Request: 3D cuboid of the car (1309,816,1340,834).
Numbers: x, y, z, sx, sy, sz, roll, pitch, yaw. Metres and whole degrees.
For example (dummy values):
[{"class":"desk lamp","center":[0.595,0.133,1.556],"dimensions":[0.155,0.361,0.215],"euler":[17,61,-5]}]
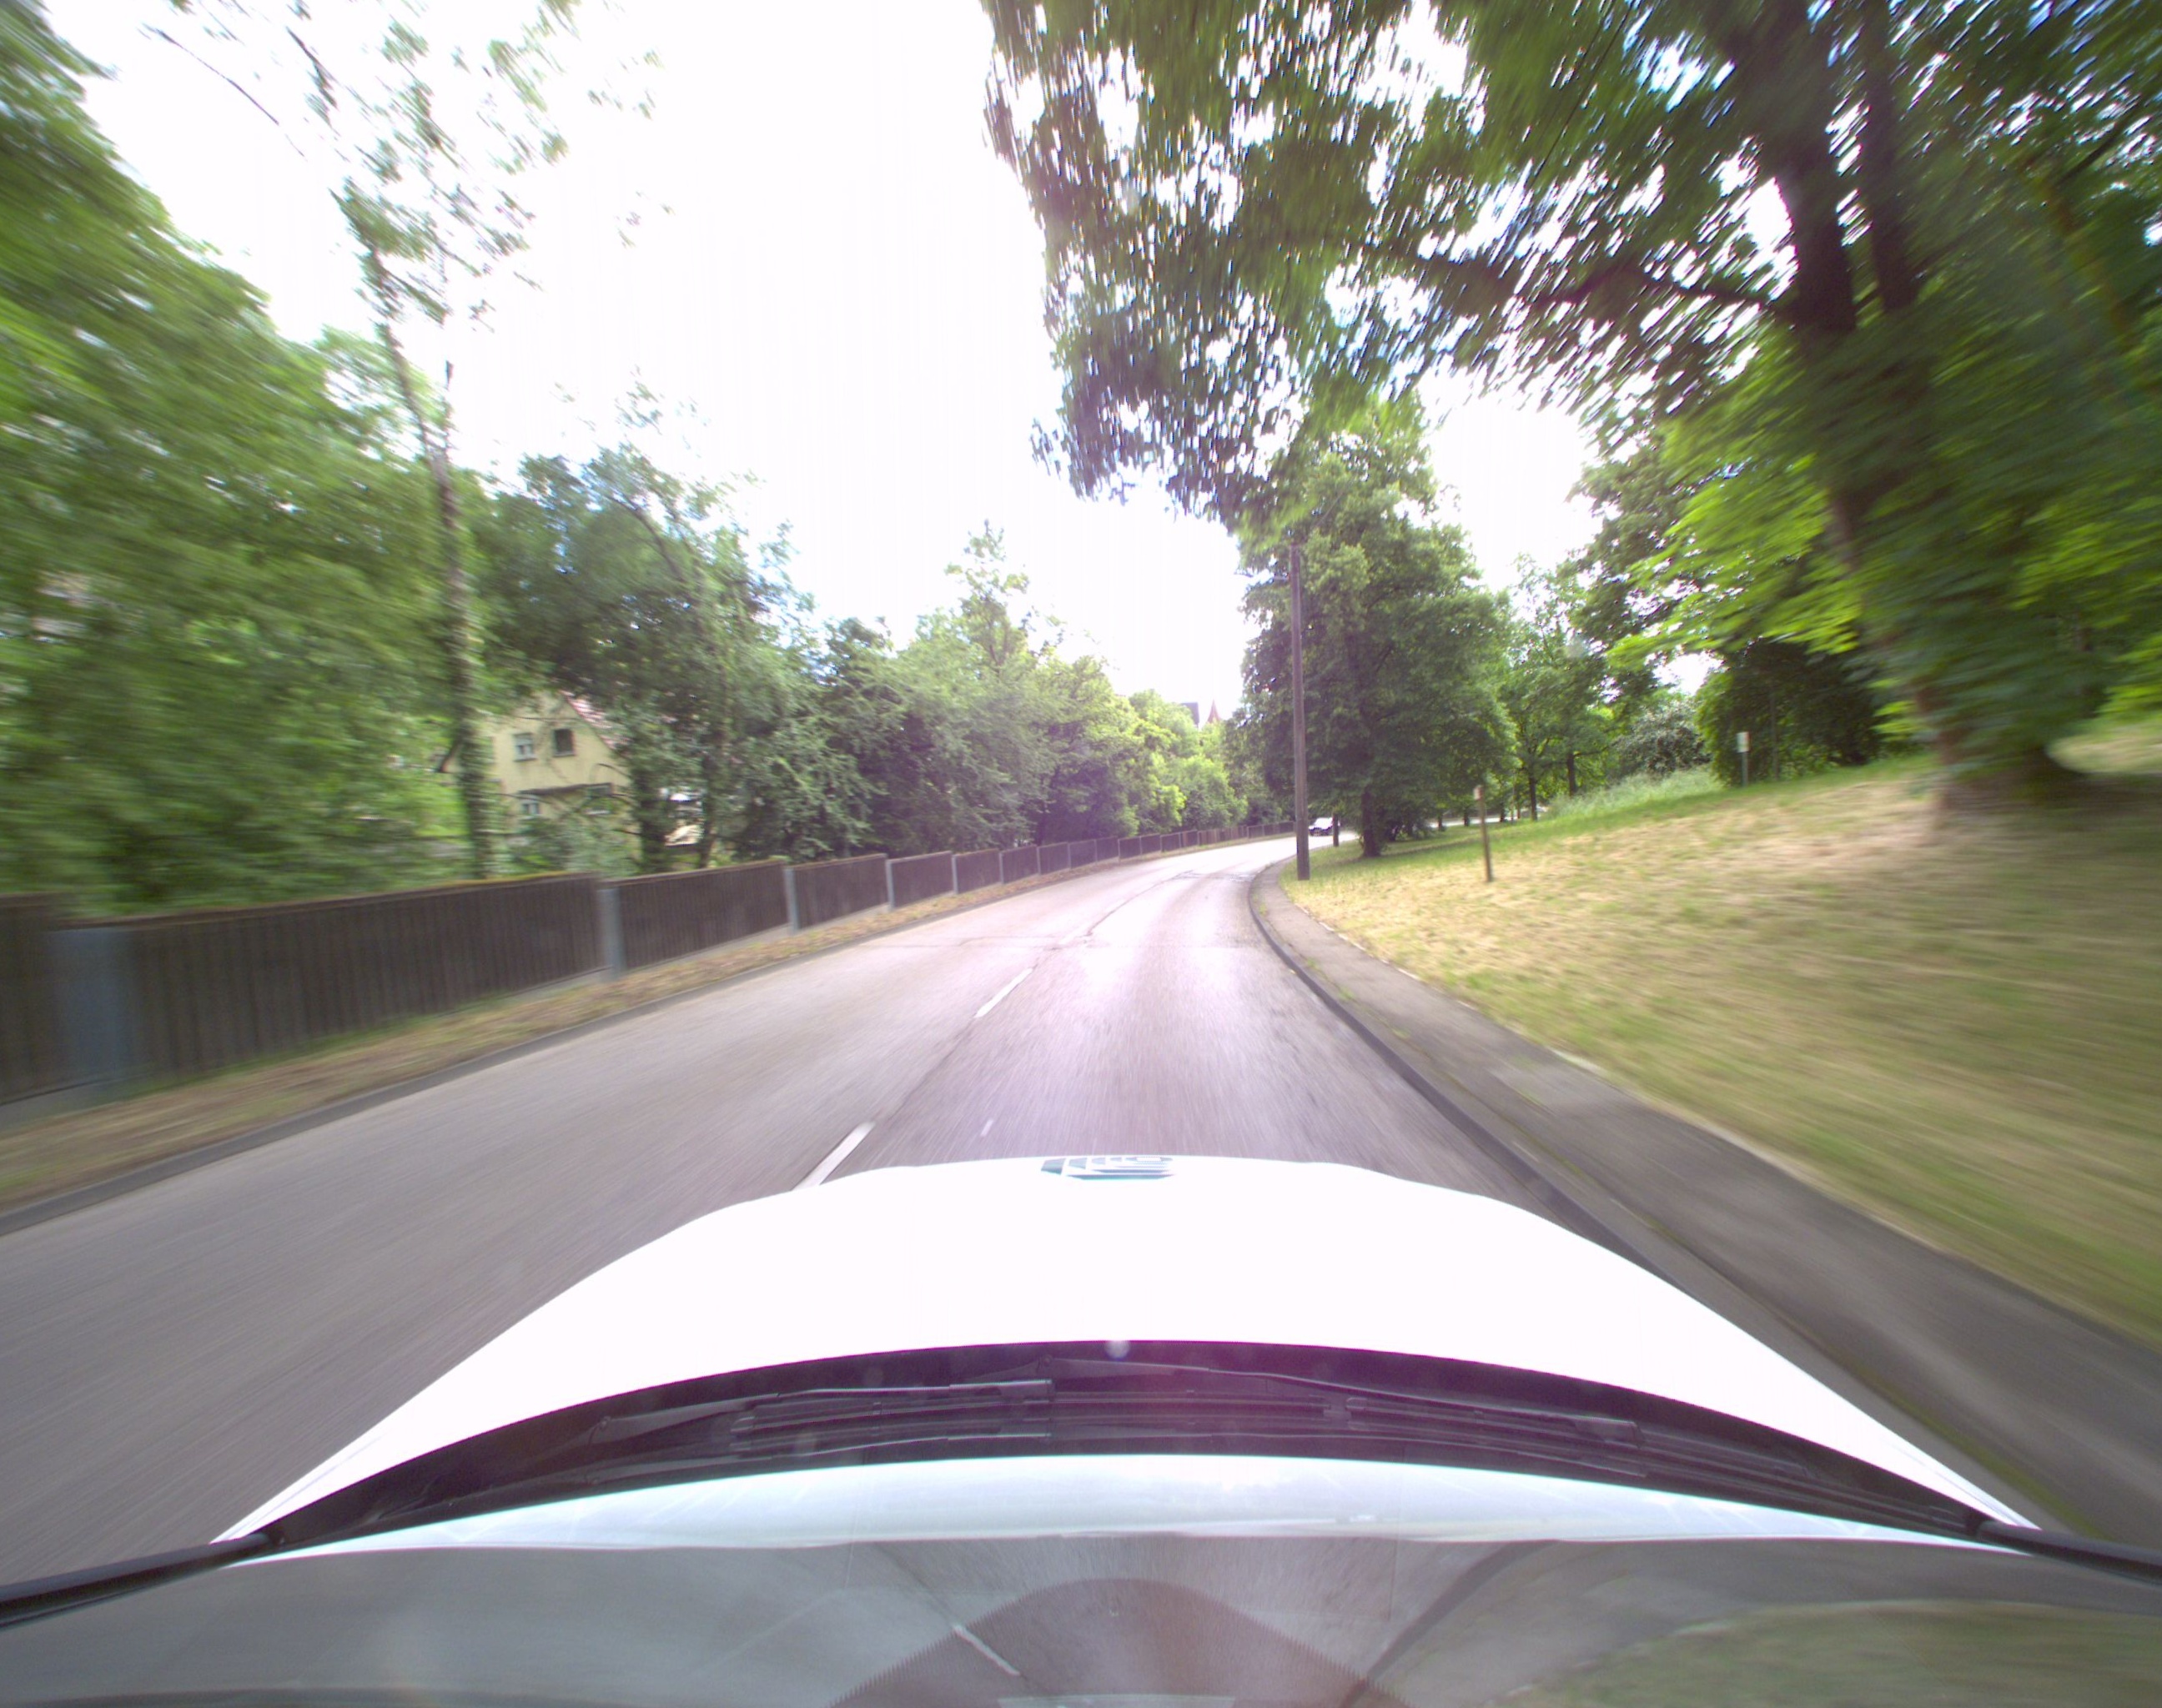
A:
[{"class":"car","center":[22.636,-2.704,75.690],"dimensions":[1.828,1.564,4.260],"euler":[0,3,29]}]
